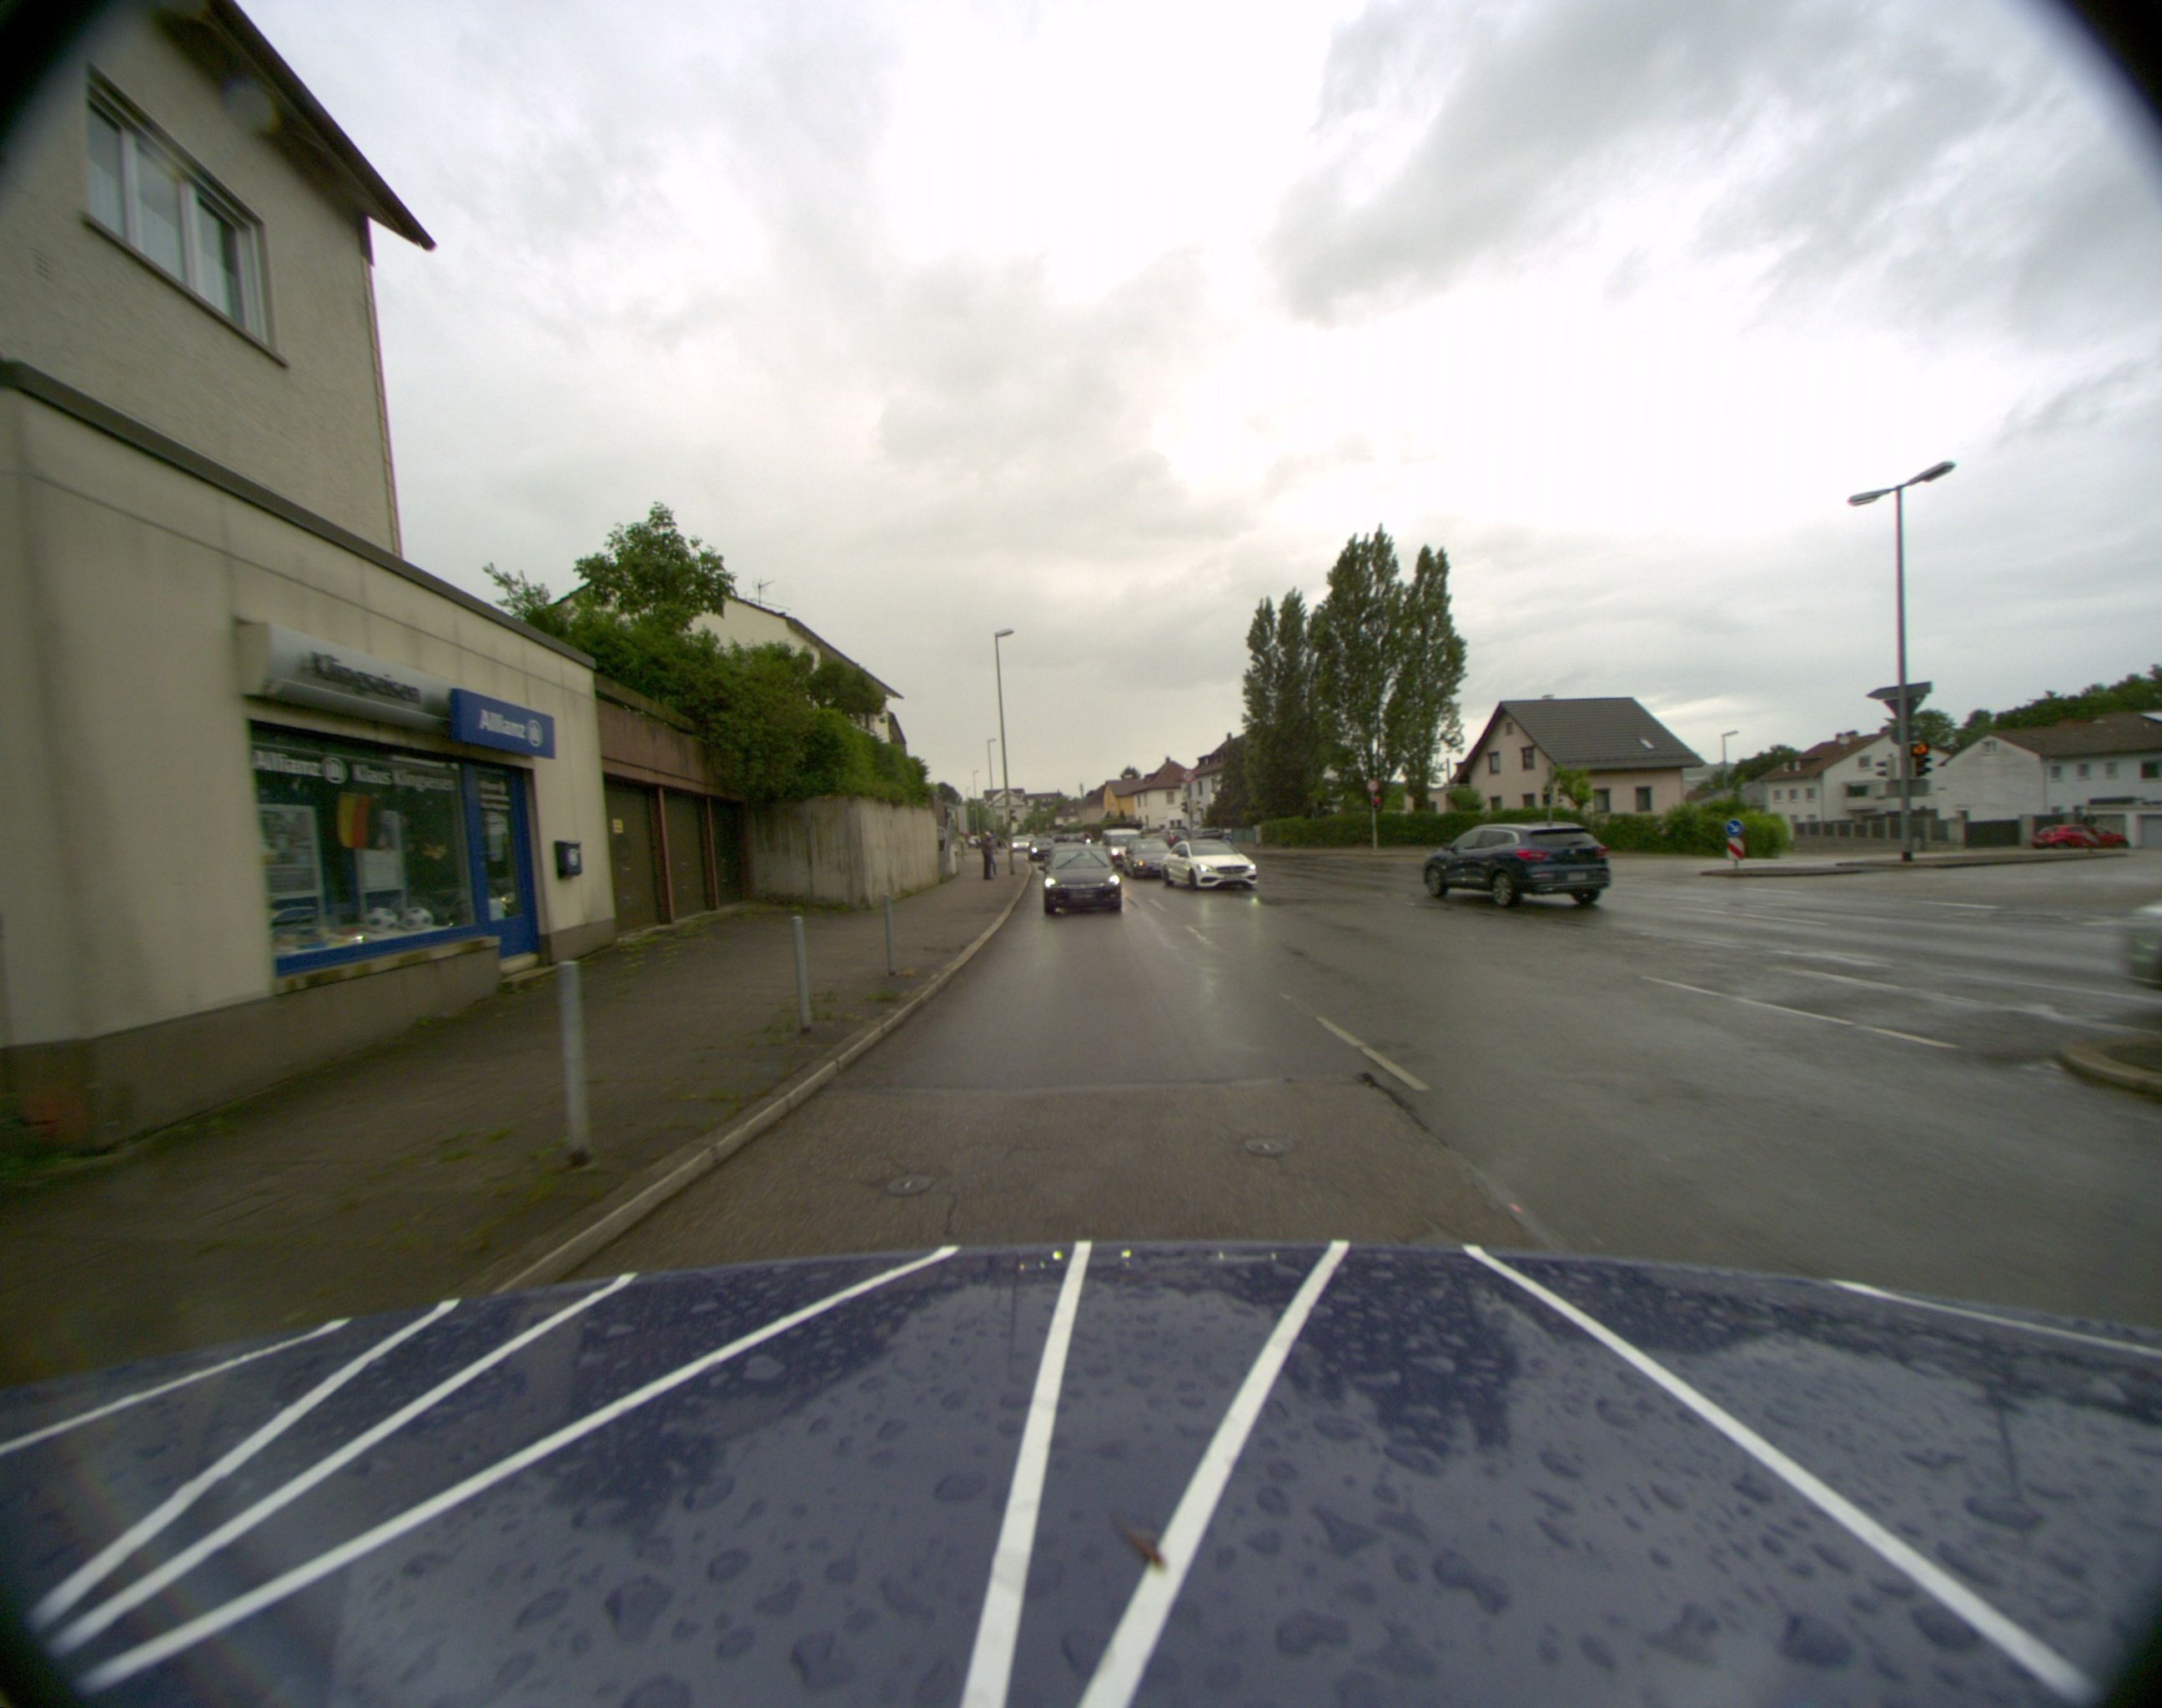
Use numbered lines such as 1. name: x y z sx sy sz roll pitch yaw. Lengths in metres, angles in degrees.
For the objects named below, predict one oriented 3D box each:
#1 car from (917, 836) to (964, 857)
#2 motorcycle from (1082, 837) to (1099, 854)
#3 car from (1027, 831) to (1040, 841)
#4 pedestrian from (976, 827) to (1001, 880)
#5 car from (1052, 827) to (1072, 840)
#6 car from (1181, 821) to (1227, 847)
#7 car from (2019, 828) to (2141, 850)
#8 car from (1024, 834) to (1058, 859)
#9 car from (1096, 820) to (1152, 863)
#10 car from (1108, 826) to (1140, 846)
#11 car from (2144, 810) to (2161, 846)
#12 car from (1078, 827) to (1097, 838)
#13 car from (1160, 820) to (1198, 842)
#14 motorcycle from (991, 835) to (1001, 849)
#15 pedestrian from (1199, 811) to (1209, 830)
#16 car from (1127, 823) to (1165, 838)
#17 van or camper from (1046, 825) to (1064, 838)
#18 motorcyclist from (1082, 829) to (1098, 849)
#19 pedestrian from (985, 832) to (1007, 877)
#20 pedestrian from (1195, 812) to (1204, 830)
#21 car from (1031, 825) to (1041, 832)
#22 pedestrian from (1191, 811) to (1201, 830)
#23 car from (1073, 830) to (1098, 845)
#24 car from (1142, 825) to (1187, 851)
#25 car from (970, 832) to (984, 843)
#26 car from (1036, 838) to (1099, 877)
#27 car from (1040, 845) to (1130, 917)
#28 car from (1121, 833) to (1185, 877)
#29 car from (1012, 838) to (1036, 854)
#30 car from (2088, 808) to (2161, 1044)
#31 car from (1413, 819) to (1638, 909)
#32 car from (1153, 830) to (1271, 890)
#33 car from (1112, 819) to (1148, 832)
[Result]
1. car: -11.405 -0.591 61.643 3.644 1.477 1.810 -3 3 -13
2. motorcycle: 0.686 -0.653 56.918 0.944 1.101 2.403 -3 3 -7
3. car: -7.800 -2.940 124.709 1.838 1.521 3.995 -2 2 -8
4. pedestrian: -3.582 -0.041 29.436 0.799 2.003 0.734 -3 3 -2
5. car: -2.344 -2.523 92.682 1.717 1.494 3.995 -3 3 -10
6. car: 8.362 -1.426 52.025 1.810 1.660 4.592 -3 3 -8
7. car: 60.791 -0.916 46.332 4.083 1.281 1.911 0 2 25
8. car: -2.735 -0.493 51.554 1.842 1.448 3.998 -2 -1 -9
9. car: 1.985 -0.645 36.713 1.957 1.861 4.742 -2 2 -5
10. car: 3.528 -1.540 63.336 1.841 1.548 4.765 -2 3 -6
11. car: 57.464 -1.371 38.294 4.082 1.839 1.942 0 2 28
12. car: 0.805 -2.806 98.964 1.810 1.408 3.995 -2 2 -8
13. car: 7.495 -1.811 58.331 1.810 1.560 4.137 -3 3 -8
14. motorcycle: -8.104 -1.169 72.386 0.694 1.317 2.476 -2 2 -10
15. pedestrian: 12.048 -3.291 74.417 0.734 1.857 0.686 -6 3 -3
16. car: 7.756 -2.813 90.480 4.112 1.412 1.882 -4 3 -9
17. van or camper: -4.319 -3.742 125.325 2.191 2.003 5.127 -3 3 -10
18. motorcyclist: 0.668 -1.118 56.868 0.953 1.414 0.992 -3 3 -7
19. pedestrian: -3.495 -0.001 31.265 0.796 1.771 1.011 -1 3 -2
20. pedestrian: 12.031 -3.392 77.204 0.652 1.777 0.648 -5 2 15
21. car: -10.619 -6.105 180.017 2.000 1.565 3.995 -3 3 -8
22. pedestrian: 11.311 -3.298 74.937 0.670 1.779 0.539 -6 3 -5
23. car: 0.403 -1.717 77.528 1.859 1.456 3.995 -3 2 -10
24. car: 5.380 -1.087 49.687 2.000 1.565 3.995 -2 3 -8
25. car: -14.546 -2.340 106.034 1.738 1.481 3.995 -2 2 -8
26. car: -0.662 0.145 31.172 1.911 1.390 4.853 -3 0 -8
27. car: 0.155 0.567 18.228 1.840 1.390 3.999 -3 1 2
28. car: 2.695 -0.029 29.311 1.840 1.479 4.056 -2 2 -3
29. car: -5.689 -0.758 75.585 1.842 1.473 3.995 -2 1 -11
30. car: 8.672 0.534 3.562 1.904 1.673 4.477 -2 2 -2
31. car: 8.855 0.116 15.663 1.846 1.543 4.380 -2 2 -4
32. car: 3.785 0.083 22.870 1.915 1.520 4.645 -3 3 -11
33. car: 6.225 -3.585 96.213 4.115 1.475 1.837 1 1 -16
